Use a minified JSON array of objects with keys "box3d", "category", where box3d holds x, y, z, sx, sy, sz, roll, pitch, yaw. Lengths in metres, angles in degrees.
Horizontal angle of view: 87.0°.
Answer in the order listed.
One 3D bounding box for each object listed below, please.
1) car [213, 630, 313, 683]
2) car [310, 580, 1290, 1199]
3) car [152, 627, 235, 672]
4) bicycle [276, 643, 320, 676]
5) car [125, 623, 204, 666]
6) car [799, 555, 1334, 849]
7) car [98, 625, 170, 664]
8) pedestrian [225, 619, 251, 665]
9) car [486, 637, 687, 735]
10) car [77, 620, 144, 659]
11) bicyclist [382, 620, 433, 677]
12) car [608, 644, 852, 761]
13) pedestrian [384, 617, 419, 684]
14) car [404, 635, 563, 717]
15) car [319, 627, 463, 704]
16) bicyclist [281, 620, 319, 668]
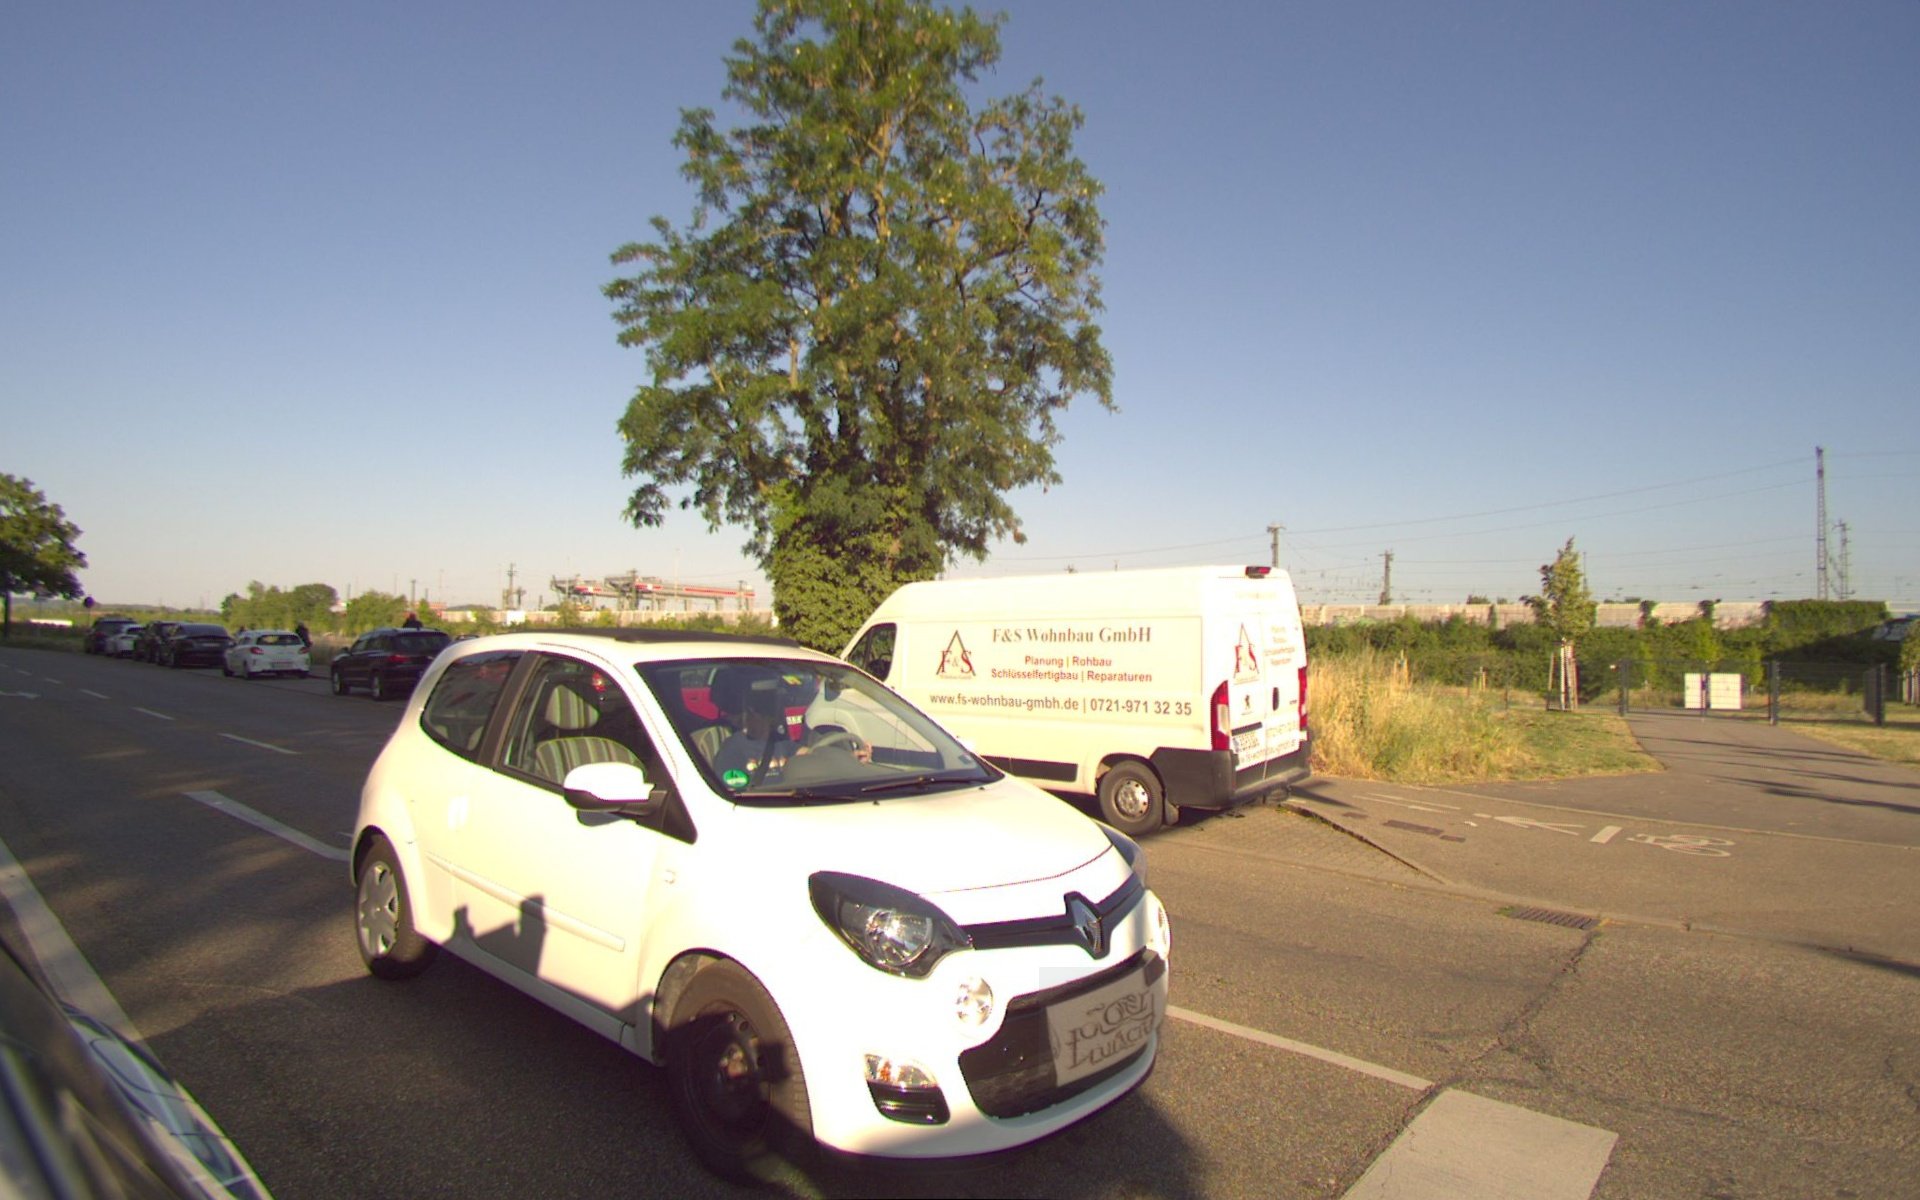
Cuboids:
[{"box3d":[-21.567,1.726,31.294,3.582,1.538,1.684,-1,-4,42],"category":"car"},{"box3d":[-0.877,0.770,3.945,3.772,1.480,1.683,-1,-4,40],"category":"car"},{"box3d":[-28.243,1.809,37.230,1.798,1.538,4.292,5,-4,-45],"category":"car"},{"box3d":[-22.938,2.056,35.061,2.163,1.098,0.738,-1,-4,43],"category":"bicycle"},{"box3d":[-32.392,1.806,41.151,4.219,1.650,1.799,-1,-4,43],"category":"car"},{"box3d":[0.920,0.891,11.085,5.556,2.455,2.207,-1,-1,40],"category":"car"},{"box3d":[-36.479,1.945,44.662,4.219,1.586,1.799,-1,-4,43],"category":"car"},{"box3d":[-31.884,1.849,44.688,0.710,2.029,0.697,-1,-4,42],"category":"pedestrian"},{"box3d":[-6.807,1.491,18.320,3.814,1.541,1.723,-1,-4,40],"category":"car"},{"box3d":[-40.849,1.888,48.609,4.219,1.789,1.866,-1,-4,43],"category":"car"},{"box3d":[-16.011,1.412,29.326,1.145,1.609,0.855,-1,-4,41],"category":"bicyclist"},{"box3d":[-3.557,1.470,15.399,3.692,1.498,1.723,-1,-4,40],"category":"car"},{"box3d":[-17.101,1.540,30.999,0.729,2.029,0.608,-1,-4,39],"category":"pedestrian"},{"box3d":[-10.023,1.542,21.200,3.577,1.541,1.642,-1,-4,40],"category":"car"},{"box3d":[-13.605,1.521,24.118,4.003,1.672,1.642,-1,-4,40],"category":"car"},{"box3d":[-22.850,1.515,35.047,1.146,1.609,0.758,-1,-4,43],"category":"bicyclist"}]
